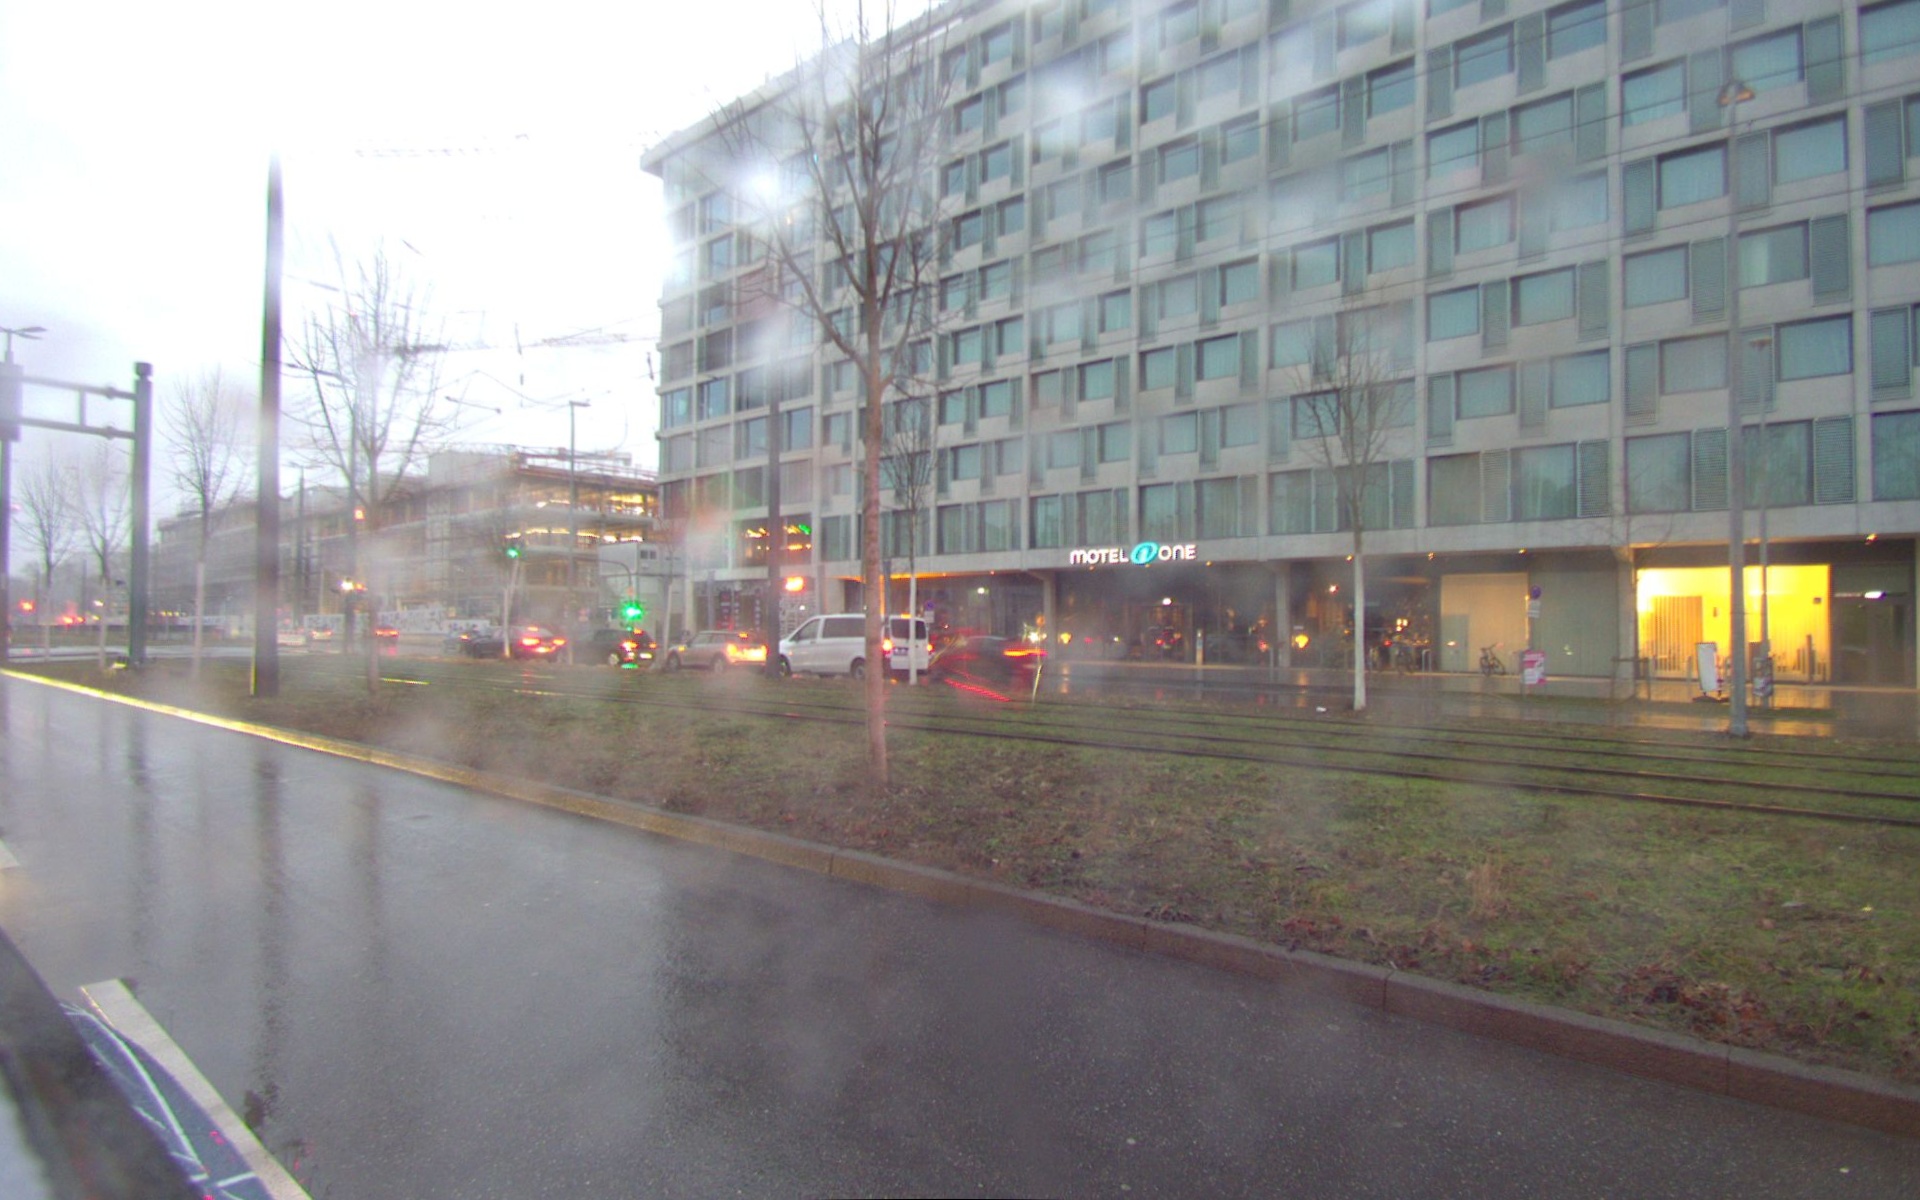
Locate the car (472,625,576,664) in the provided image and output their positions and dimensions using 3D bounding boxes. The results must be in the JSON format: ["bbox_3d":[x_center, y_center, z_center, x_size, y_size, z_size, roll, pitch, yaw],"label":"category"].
[{"bbox_3d":[-17.797,1.771,41.198,5.032,1.479,1.972,-2,-3,42],"label":"car"}]

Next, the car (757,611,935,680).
[{"bbox_3d":[-3.210,1.218,27.869,5.114,1.732,1.876,-1,-3,40],"label":"car"}]

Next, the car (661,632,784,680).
[{"bbox_3d":[-7.619,1.738,32.345,3.699,1.442,1.879,-1,-2,36],"label":"car"}]

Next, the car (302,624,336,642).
[{"bbox_3d":[-63.575,3.292,100.282,1.874,1.732,4.920,2,-2,-44],"label":"car"}]

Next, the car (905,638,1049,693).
[{"bbox_3d":[0.492,2.054,32.723,4.578,1.646,1.876,-1,-2,41],"label":"car"}]

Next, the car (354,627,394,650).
[{"bbox_3d":[-45.475,2.973,78.530,1.872,1.732,4.924,1,-2,-40],"label":"car"}]

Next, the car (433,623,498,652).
[{"bbox_3d":[-30.288,2.266,61.886,4.915,1.732,1.876,-2,-2,42],"label":"car"}]

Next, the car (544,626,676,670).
[{"bbox_3d":[-12.755,1.723,36.867,4.425,1.508,1.983,-1,-2,26],"label":"car"}]
